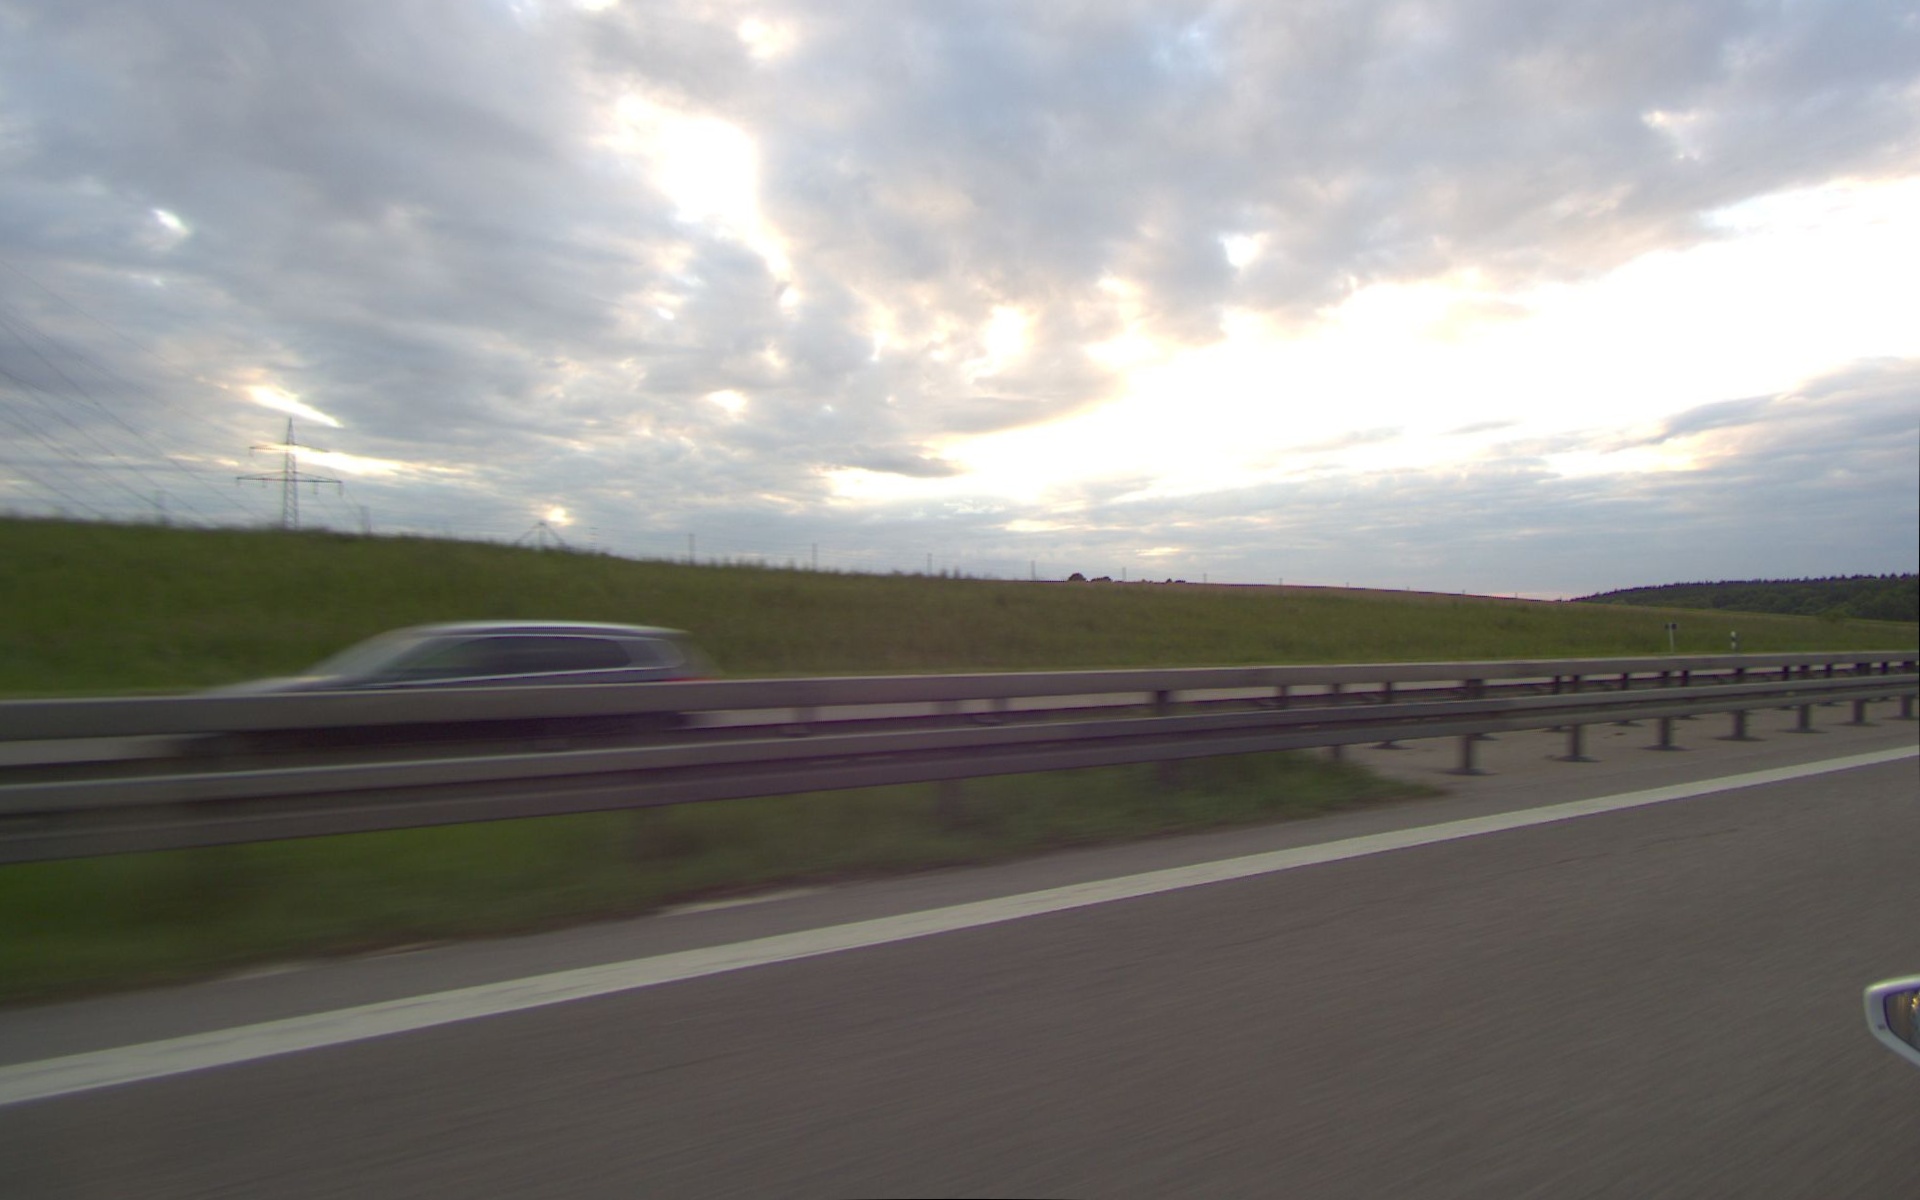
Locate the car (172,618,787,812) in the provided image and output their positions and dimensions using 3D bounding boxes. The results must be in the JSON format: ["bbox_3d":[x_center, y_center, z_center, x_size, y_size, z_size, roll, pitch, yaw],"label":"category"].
[{"bbox_3d":[-4.418,0.953,9.919,5.060,1.476,1.730,1,0,-30],"label":"car"}]
